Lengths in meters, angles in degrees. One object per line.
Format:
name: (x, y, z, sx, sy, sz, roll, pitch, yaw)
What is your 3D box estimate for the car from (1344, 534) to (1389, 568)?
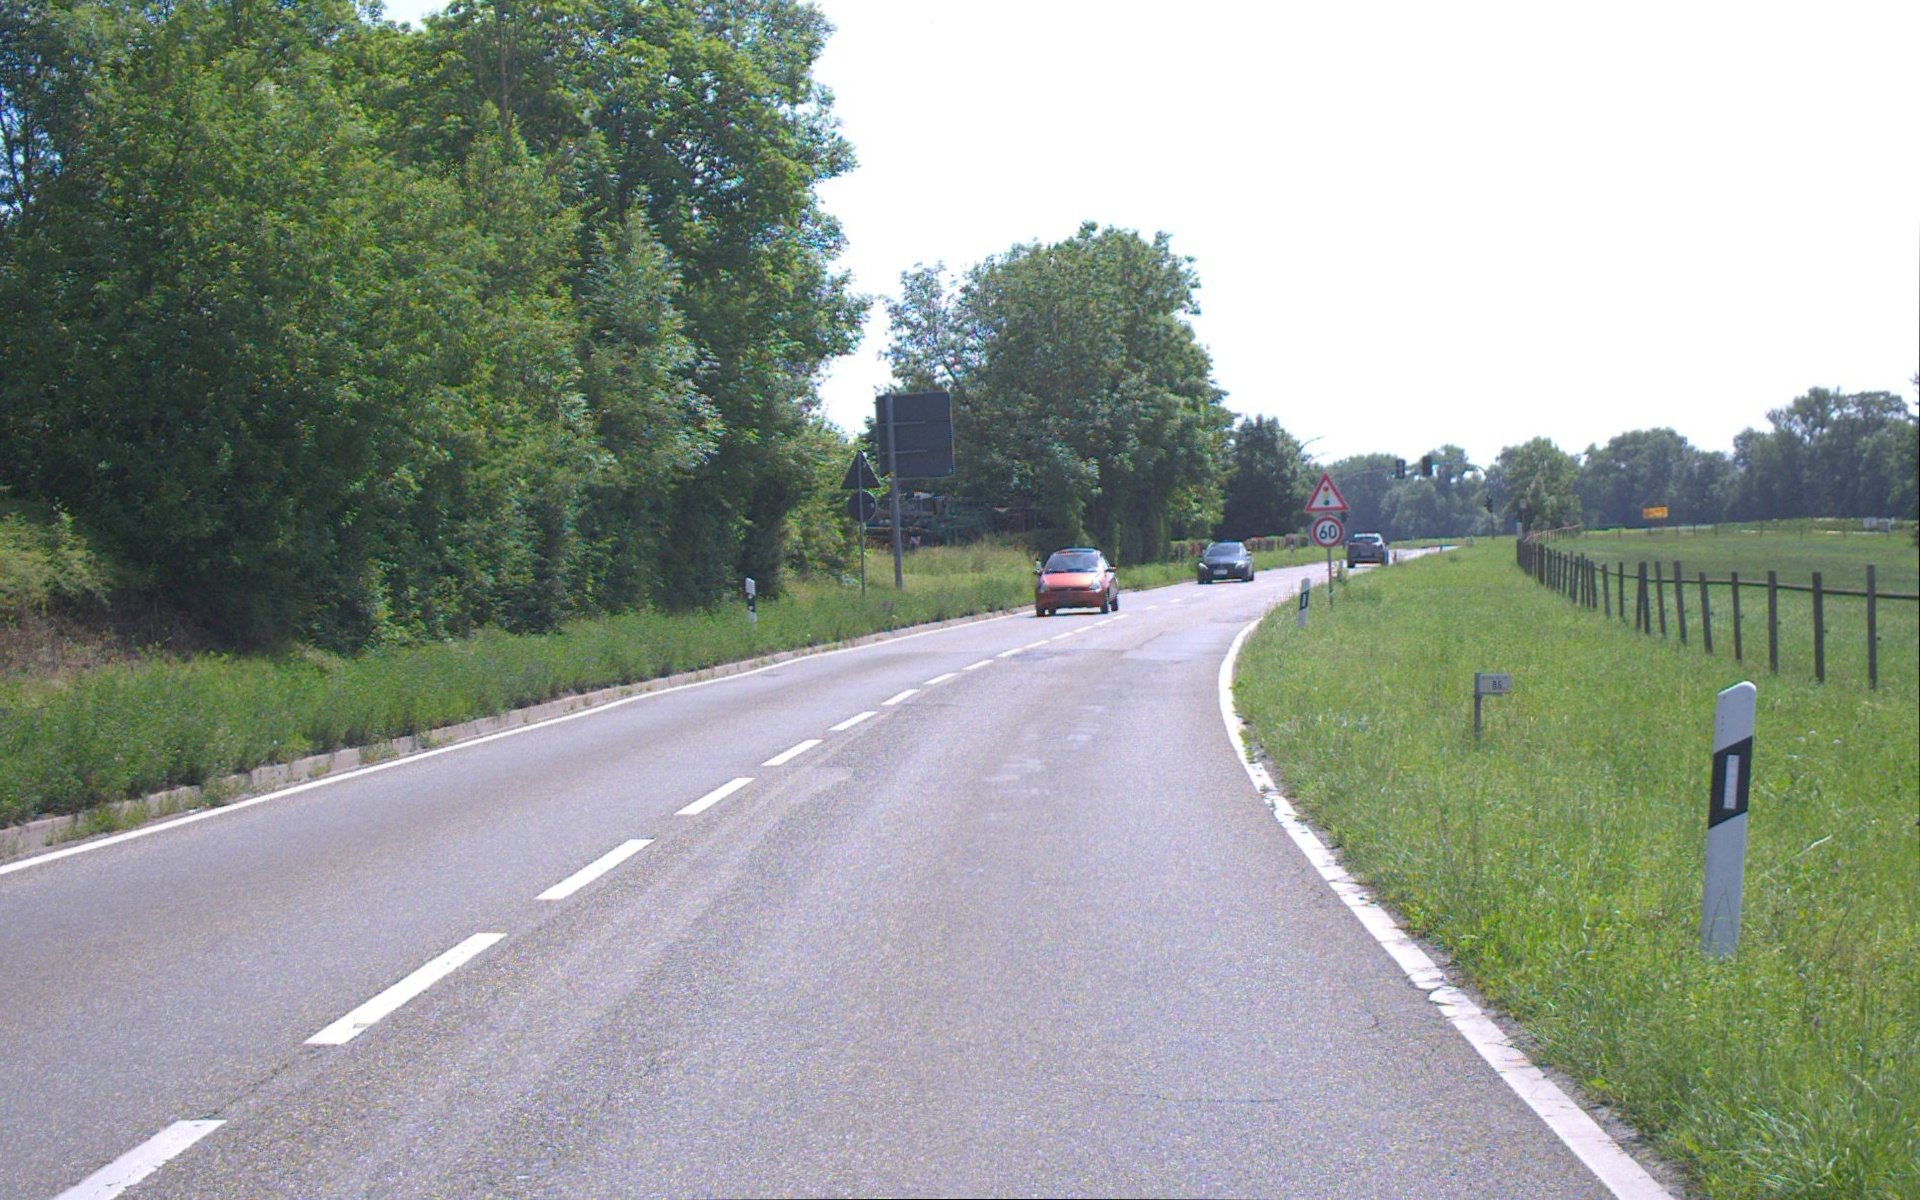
car: (18.946, -2.287, 160.100, 1.994, 1.568, 3.999, 1, 1, 8)

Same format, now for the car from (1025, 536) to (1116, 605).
car: (2.461, -0.668, 75.524, 1.821, 1.464, 4.000, 1, 1, 4)

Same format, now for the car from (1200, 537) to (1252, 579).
car: (9.616, -1.529, 124.287, 1.821, 1.464, 4.000, 1, 1, 4)
